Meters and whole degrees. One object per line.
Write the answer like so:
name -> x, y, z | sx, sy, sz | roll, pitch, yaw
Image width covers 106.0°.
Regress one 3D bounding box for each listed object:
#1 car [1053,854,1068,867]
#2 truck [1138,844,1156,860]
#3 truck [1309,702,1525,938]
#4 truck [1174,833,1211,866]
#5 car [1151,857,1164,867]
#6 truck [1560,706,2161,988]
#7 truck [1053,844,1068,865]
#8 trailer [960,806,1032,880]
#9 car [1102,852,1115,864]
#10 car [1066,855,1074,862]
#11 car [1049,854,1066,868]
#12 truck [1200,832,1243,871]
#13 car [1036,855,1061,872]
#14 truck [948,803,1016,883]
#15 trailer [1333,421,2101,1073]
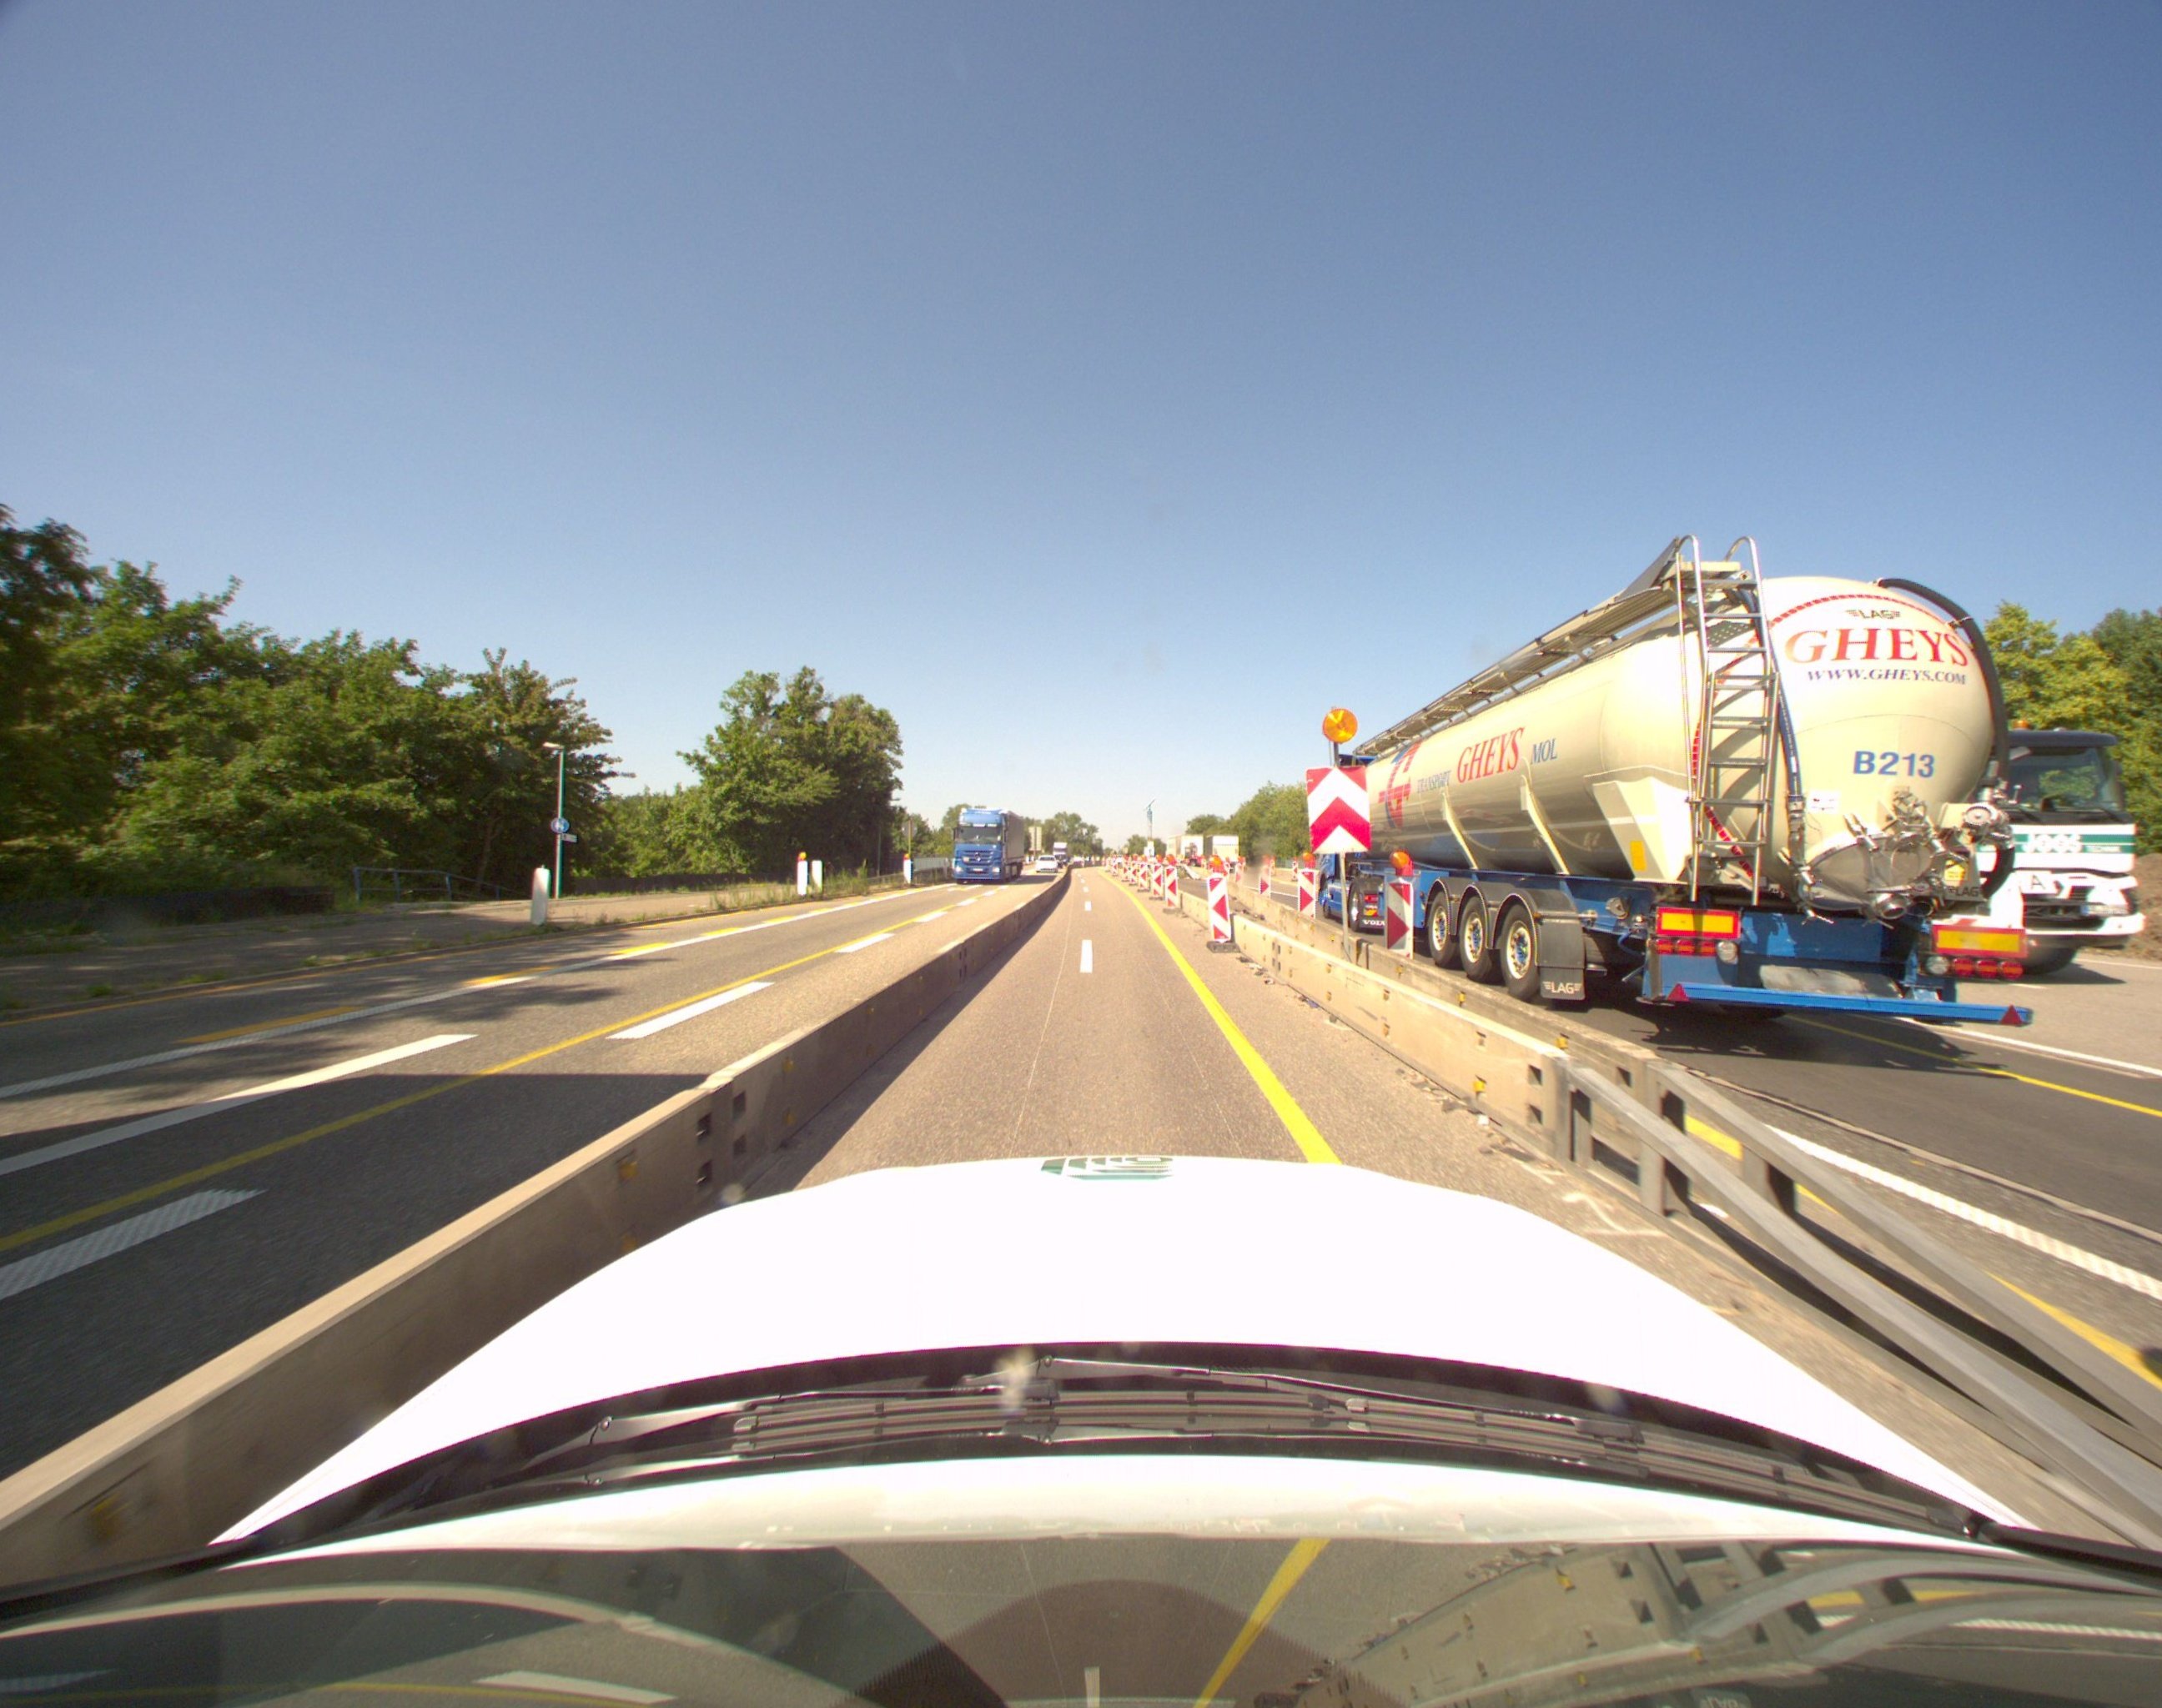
car -> -2.749, 0.835, 109.916 | 1.857, 1.632, 4.566 | 0, 0, 1
truck -> 17.372, -0.462, 216.044 | 4.204, 4.267, 10.245 | -1, 0, 2
truck -> 6.905, -0.567, 17.970 | 2.679, 4.102, 7.317 | -1, 0, 8
truck -> 13.097, -0.490, 96.416 | 3.378, 3.774, 7.231 | -1, 0, 0
car -> 14.409, 1.499, 153.485 | 1.987, 1.776, 3.999 | -1, 0, 0
truck -> 12.222, -0.068, 14.354 | 2.590, 3.433, 8.737 | -1, 0, 1
truck -> -4.111, 0.150, 164.027 | 2.740, 4.136, 6.415 | -1, 0, 0
trailer -> -5.052, -0.629, 51.154 | 2.793, 4.042, 13.471 | -1, 0, 1
car -> 4.155, 0.637, 124.369 | 1.811, 1.776, 3.999 | -1, 0, 0
car -> -2.694, 1.120, 200.573 | 1.926, 1.508, 4.469 | 0, 0, 0
car -> -2.669, 0.807, 92.529 | 1.732, 1.552, 3.942 | 0, 0, 0
truck -> 12.862, -0.241, 75.031 | 2.626, 3.427, 7.232 | -1, 0, 0
car -> -2.720, 0.778, 68.939 | 1.807, 1.417, 4.154 | 0, 0, 2
truck -> -5.226, -0.575, 43.995 | 2.805, 3.990, 5.986 | -1, 0, 1
trailer -> 6.005, -0.652, 11.587 | 2.679, 4.137, 12.643 | -1, 0, 8
